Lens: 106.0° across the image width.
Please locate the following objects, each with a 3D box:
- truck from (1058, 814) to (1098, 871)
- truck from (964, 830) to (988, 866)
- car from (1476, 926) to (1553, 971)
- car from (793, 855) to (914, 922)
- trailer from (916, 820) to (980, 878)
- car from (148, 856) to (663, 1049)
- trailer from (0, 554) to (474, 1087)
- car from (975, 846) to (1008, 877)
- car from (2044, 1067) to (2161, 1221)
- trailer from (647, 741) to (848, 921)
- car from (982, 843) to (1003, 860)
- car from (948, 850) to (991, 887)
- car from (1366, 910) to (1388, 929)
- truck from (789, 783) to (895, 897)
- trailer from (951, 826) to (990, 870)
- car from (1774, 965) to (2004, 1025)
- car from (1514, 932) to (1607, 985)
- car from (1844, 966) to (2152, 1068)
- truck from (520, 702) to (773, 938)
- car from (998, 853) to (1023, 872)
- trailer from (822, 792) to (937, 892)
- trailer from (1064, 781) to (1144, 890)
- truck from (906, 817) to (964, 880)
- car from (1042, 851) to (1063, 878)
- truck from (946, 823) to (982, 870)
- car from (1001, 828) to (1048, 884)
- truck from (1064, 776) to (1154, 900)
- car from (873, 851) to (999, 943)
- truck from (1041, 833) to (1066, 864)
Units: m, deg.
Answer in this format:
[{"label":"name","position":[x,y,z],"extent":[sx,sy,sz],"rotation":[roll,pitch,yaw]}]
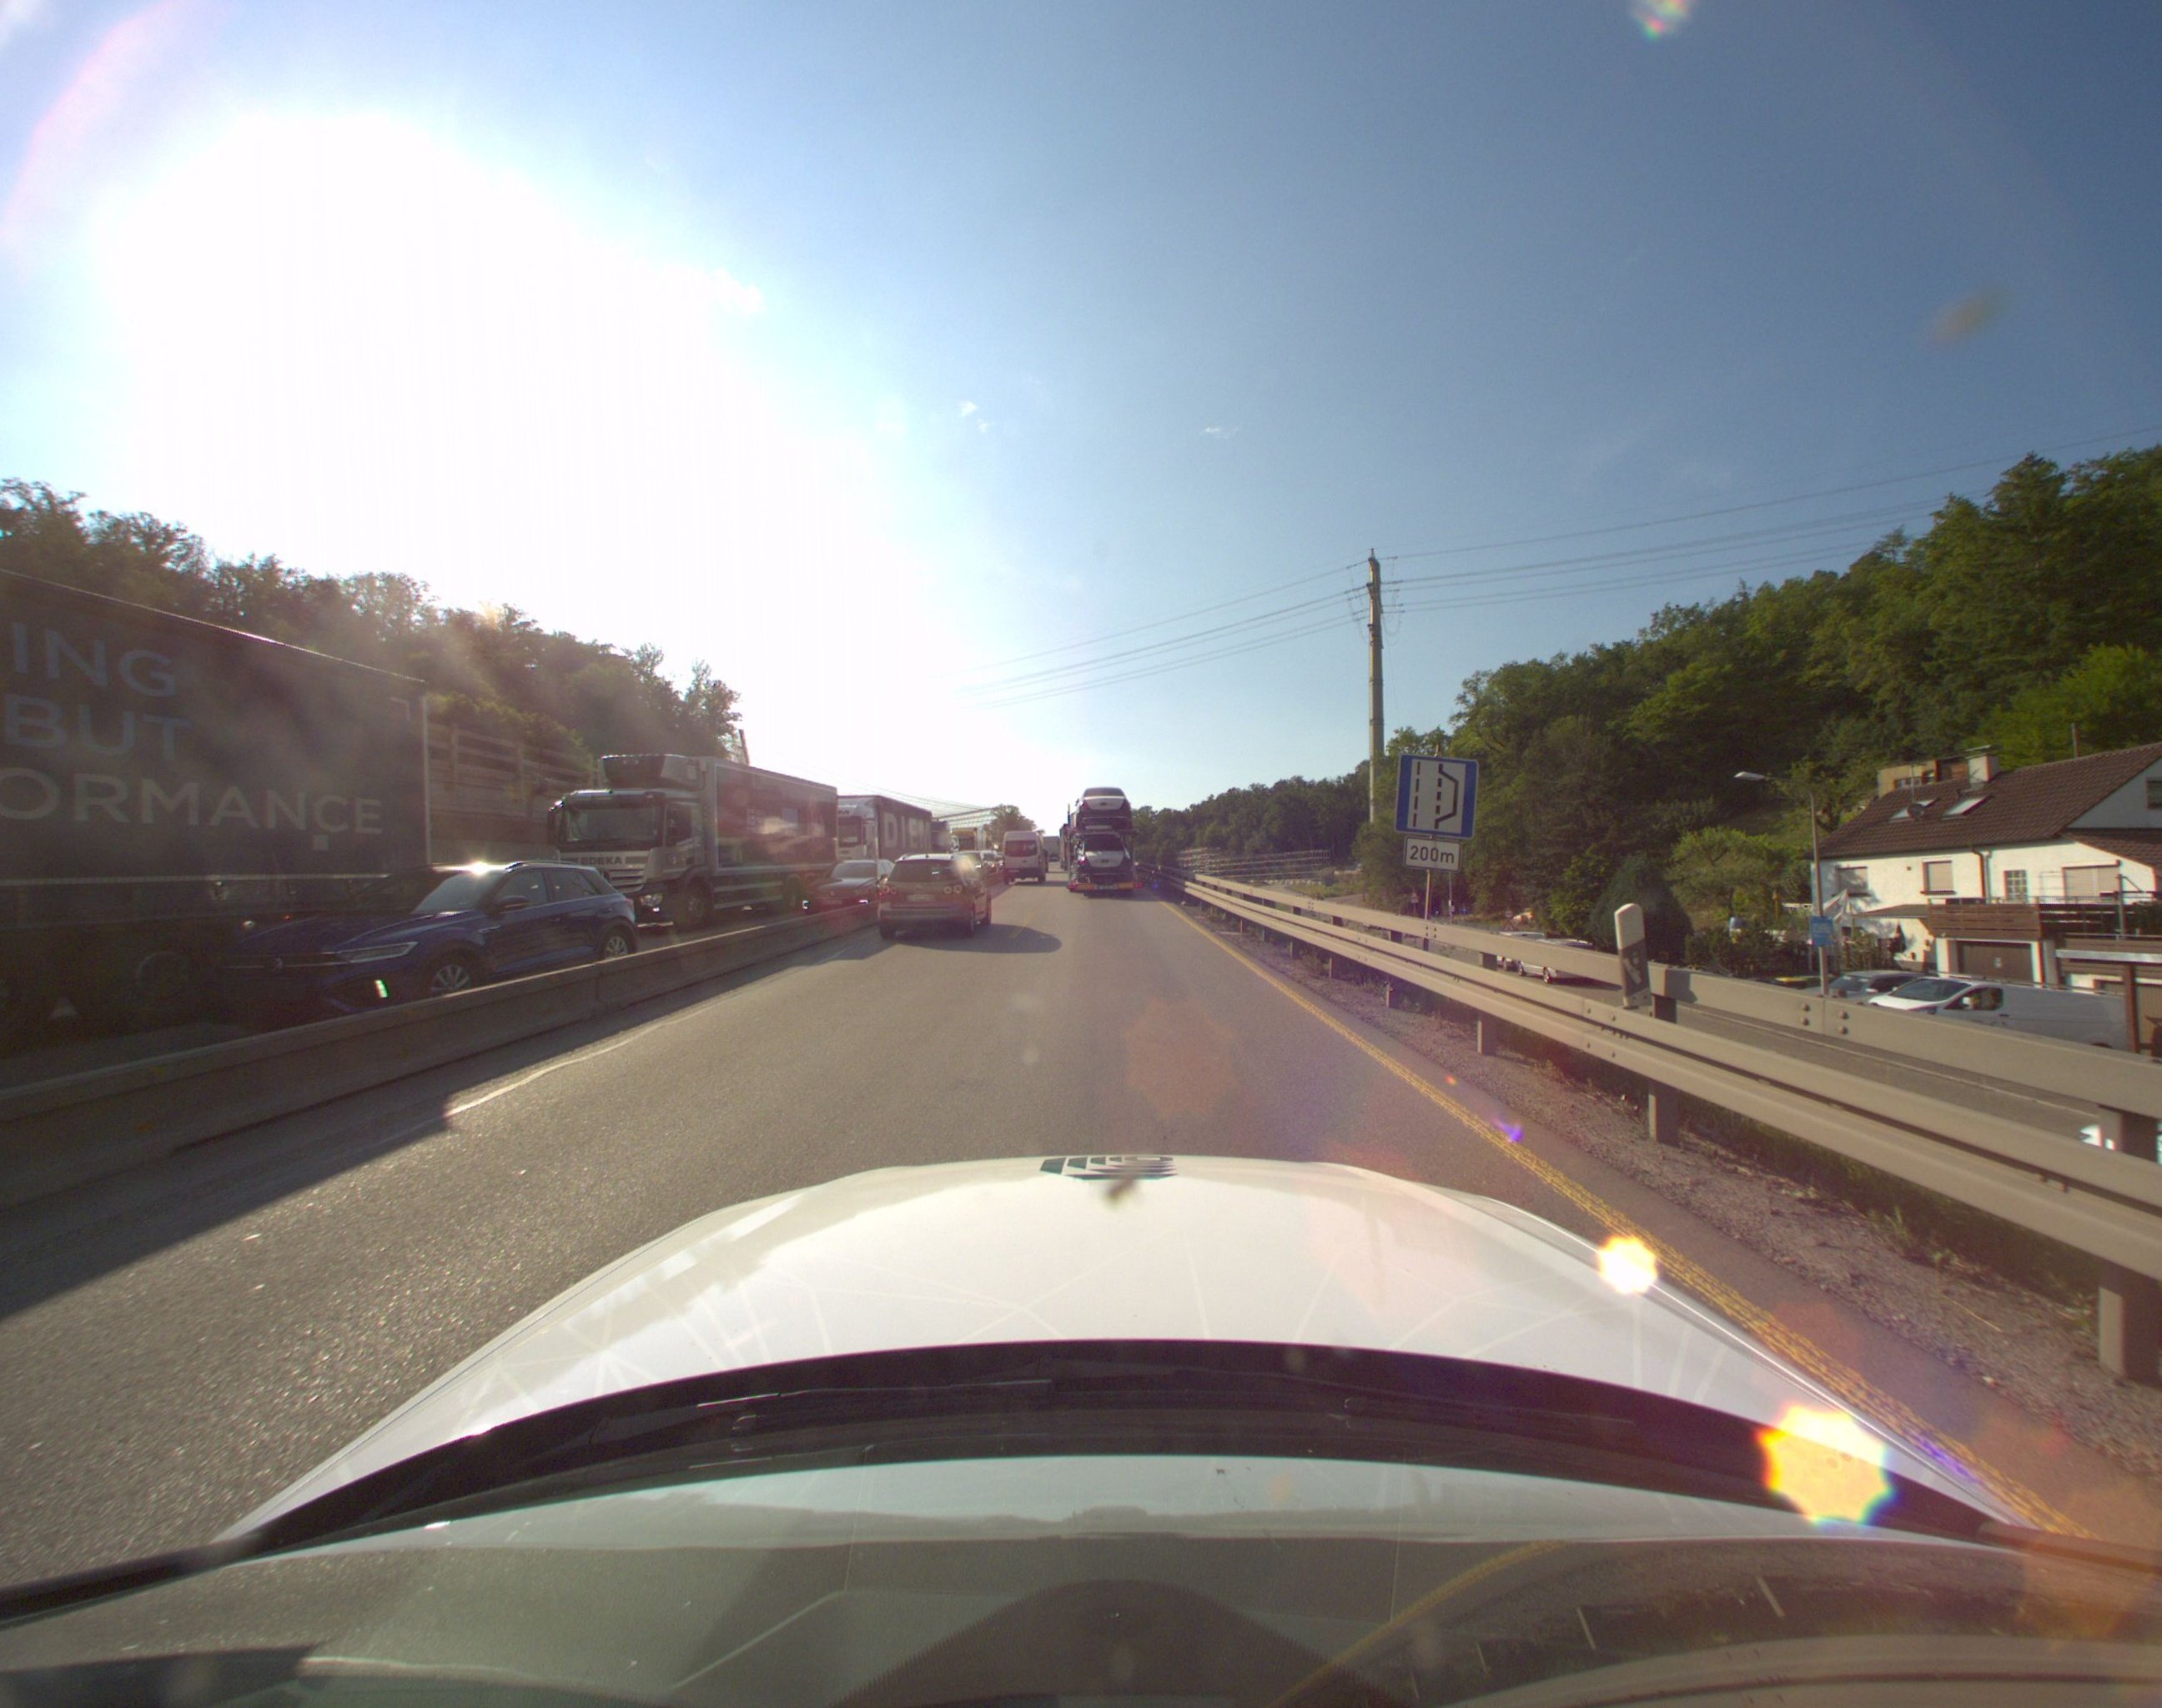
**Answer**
[{"label":"truck","position":[-0.405,-1.058,73.576],"extent":[3.219,4.676,11.688],"rotation":[-1,1,-2]},{"label":"truck","position":[-12.774,-0.668,99.392],"extent":[2.689,4.197,4.390],"rotation":[-2,-1,-5]},{"label":"car","position":[22.834,4.943,43.150],"extent":[1.852,1.986,5.061],"rotation":[-2,-3,7]},{"label":"car","position":[-6.051,0.902,22.333],"extent":[1.856,1.586,4.746],"rotation":[2,-1,1]},{"label":"trailer","position":[-10.034,-0.288,63.399],"extent":[2.742,3.815,16.033],"rotation":[-3,0,-2]},{"label":"car","position":[-6.602,0.848,8.825],"extent":[1.760,1.551,4.479],"rotation":[0,-1,1]},{"label":"trailer","position":[-9.944,-0.264,4.297],"extent":[2.766,4.203,13.836],"rotation":[-2,-1,1]},{"label":"car","position":[-6.168,0.528,56.590],"extent":[1.820,1.933,5.123],"rotation":[-4,-1,-3]},{"label":"car","position":[14.555,3.820,9.499],"extent":[1.659,1.662,4.480],"rotation":[-2,-2,8]},{"label":"trailer","position":[-9.358,-0.555,23.916],"extent":[2.902,4.465,7.151],"rotation":[-1,-1,0]},{"label":"car","position":[-9.356,-0.258,86.546],"extent":[1.955,1.644,4.842],"rotation":[-2,-1,-3]},{"label":"car","position":[-6.345,0.854,46.827],"extent":[1.828,1.963,4.896],"rotation":[-2,-1,-1]},{"label":"car","position":[28.447,6.308,78.343],"extent":[1.515,1.461,4.283],"rotation":[-2,-1,13]},{"label":"truck","position":[-9.376,-0.508,32.529],"extent":[2.742,4.115,5.026],"rotation":[-3,0,-2]},{"label":"trailer","position":[-11.470,-0.475,85.721],"extent":[2.709,4.134,16.729],"rotation":[-2,-1,-4]},{"label":"car","position":[24.841,4.323,25.198],"extent":[5.064,1.557,1.718],"rotation":[-1,-2,6]},{"label":"car","position":[21.776,4.701,37.211],"extent":[1.984,1.917,4.875],"rotation":[-2,-3,9]},{"label":"car","position":[23.977,4.219,21.518],"extent":[5.438,2.264,2.003],"rotation":[0,-2,6]},{"label":"truck","position":[-9.383,-0.644,18.304],"extent":[2.910,4.514,5.027],"rotation":[-1,-1,0]},{"label":"car","position":[-6.056,0.746,70.454],"extent":[1.798,1.521,4.814],"rotation":[-3,-1,-1]},{"label":"trailer","position":[-9.585,-0.478,40.514],"extent":[2.707,4.122,12.484],"rotation":[-3,0,-1]},{"label":"trailer","position":[0.711,-0.577,38.099],"extent":[2.867,3.994,15.269],"rotation":[-2,-1,-1]},{"label":"truck","position":[-9.716,-0.330,54.894],"extent":[2.742,3.805,7.105],"rotation":[-3,0,-2]},{"label":"car","position":[-2.202,0.829,63.509],"extent":[1.524,2.014,3.997],"rotation":[1,-1,-2]},{"label":"truck","position":[-10.909,-0.629,76.329],"extent":[2.696,4.141,5.786],"rotation":[-2,-1,-4]},{"label":"car","position":[-2.857,0.139,41.910],"extent":[1.972,2.684,4.147],"rotation":[-2,-1,1]},{"label":"truck","position":[0.861,-0.493,29.757],"extent":[2.862,3.980,5.767],"rotation":[-2,-1,-1]},{"label":"car","position":[-2.786,0.791,16.557],"extent":[1.695,1.587,4.147],"rotation":[-2,-1,1]},{"label":"truck","position":[-4.431,-0.947,133.645],"extent":[3.636,4.676,11.695],"rotation":[-1,1,0]}]
